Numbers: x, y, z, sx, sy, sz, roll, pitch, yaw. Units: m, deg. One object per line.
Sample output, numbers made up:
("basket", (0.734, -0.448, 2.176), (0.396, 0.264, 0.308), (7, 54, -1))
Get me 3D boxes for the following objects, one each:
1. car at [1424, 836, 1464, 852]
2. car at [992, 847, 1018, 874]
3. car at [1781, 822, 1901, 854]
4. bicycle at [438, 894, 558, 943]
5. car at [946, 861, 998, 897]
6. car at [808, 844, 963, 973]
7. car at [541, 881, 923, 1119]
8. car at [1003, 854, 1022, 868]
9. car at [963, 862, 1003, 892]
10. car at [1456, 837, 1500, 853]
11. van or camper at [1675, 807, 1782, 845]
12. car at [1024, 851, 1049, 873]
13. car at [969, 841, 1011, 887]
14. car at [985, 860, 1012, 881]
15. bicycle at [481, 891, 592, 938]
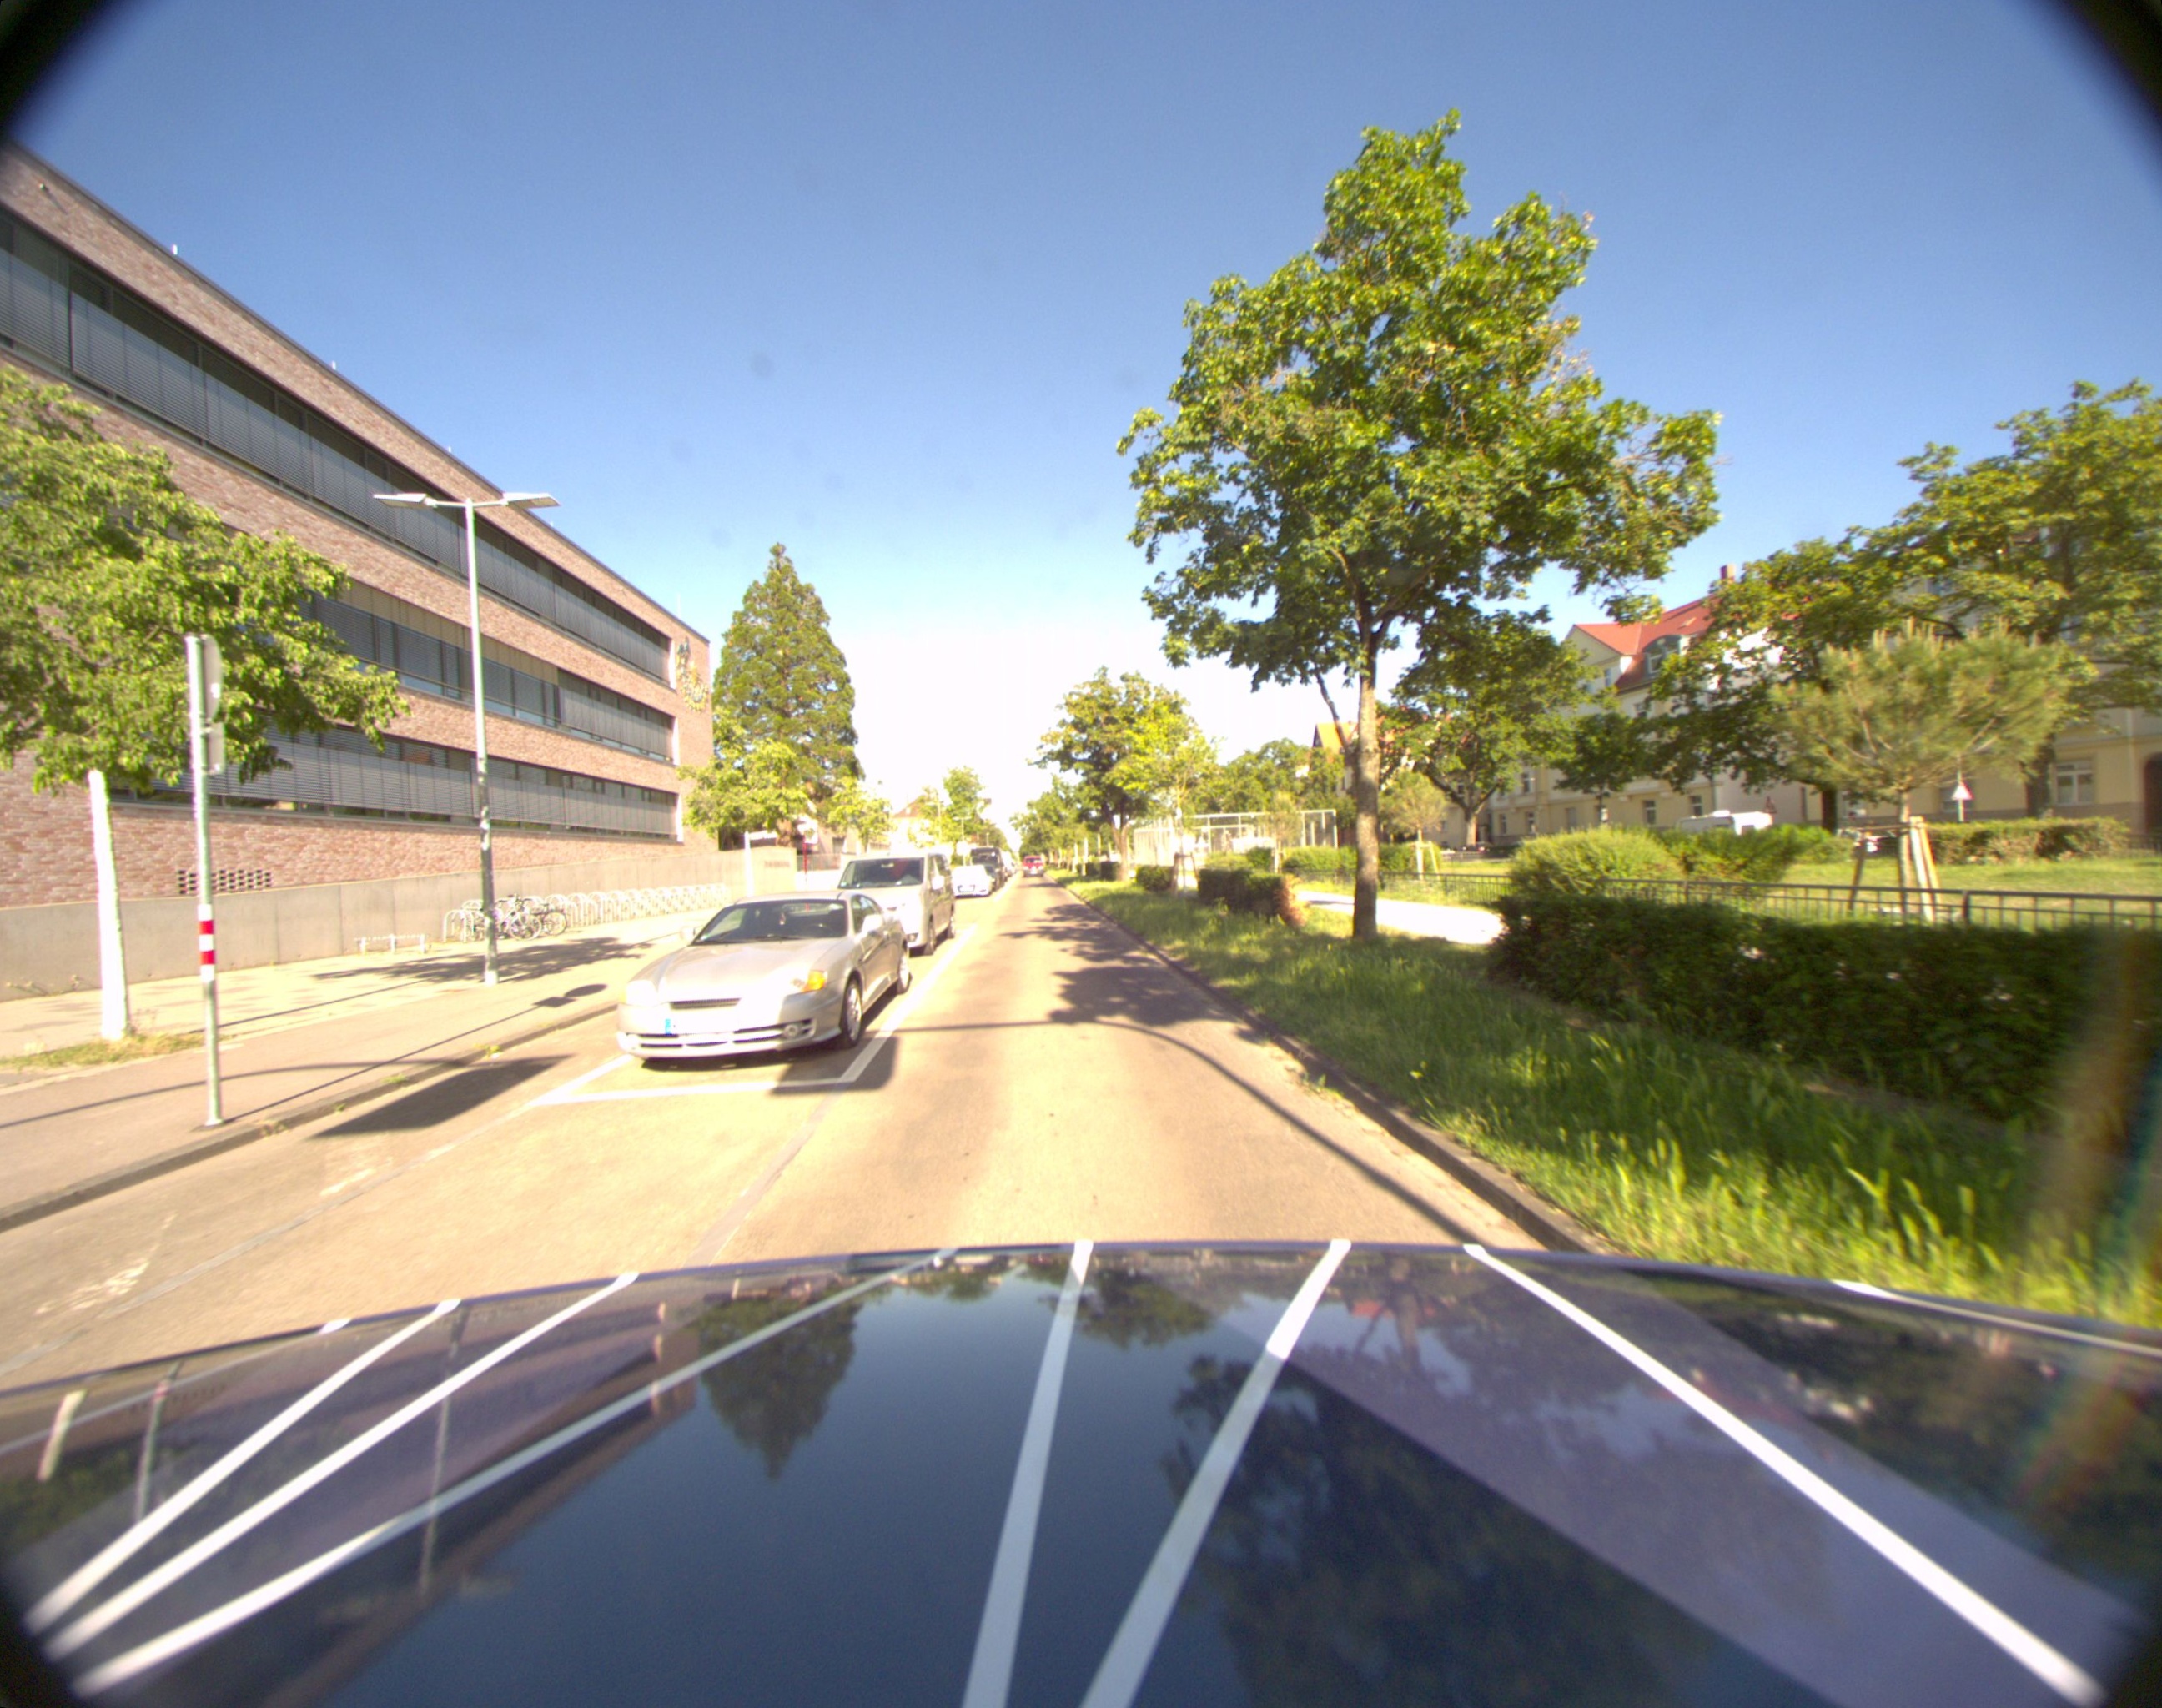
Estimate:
("car", (35.202, -0.954, 73.770), (1.845, 1.444, 3.999), (-3, 0, -3))
("car", (-7.687, 0.630, 77.532), (2.196, 2.583, 6.042), (-3, 0, -3))
("car", (37.897, -0.767, 38.040), (1.845, 1.444, 3.999), (-3, 0, -3))
("bicycle", (-13.366, 1.471, 17.484), (2.030, 1.057, 0.882), (0, 0, -5))
("car", (-4.815, 1.080, 34.072), (1.825, 1.412, 4.039), (-3, 0, -3))
("car", (-3.375, 0.842, 14.074), (1.788, 1.899, 4.625), (-3, 0, -3))
("car", (-2.842, 1.060, 7.557), (1.653, 1.324, 4.933), (-3, 0, -3))
("car", (-8.755, 0.855, 97.375), (2.057, 1.588, 4.752), (-3, 0, -3))
("car", (-5.170, 1.172, 40.442), (1.715, 1.412, 3.923), (-3, 0, -3))
("car", (35.579, -0.810, 68.186), (1.691, 1.286, 3.999), (-3, 0, -3))
("van or camper", (37.499, -1.591, 44.177), (2.274, 2.002, 4.372), (-3, 1, -4))
("car", (-4.156, 0.740, 72.120), (2.022, 1.867, 4.739), (-3, 0, 0))
("car", (-5.585, 0.581, 47.452), (2.074, 2.583, 6.200), (-3, 0, -3))
("car", (-6.332, 1.227, 58.582), (1.715, 1.412, 3.923), (-3, 0, -3))
("bicycle", (-13.411, 1.479, 18.772), (2.085, 1.058, 0.859), (0, 0, -4))
